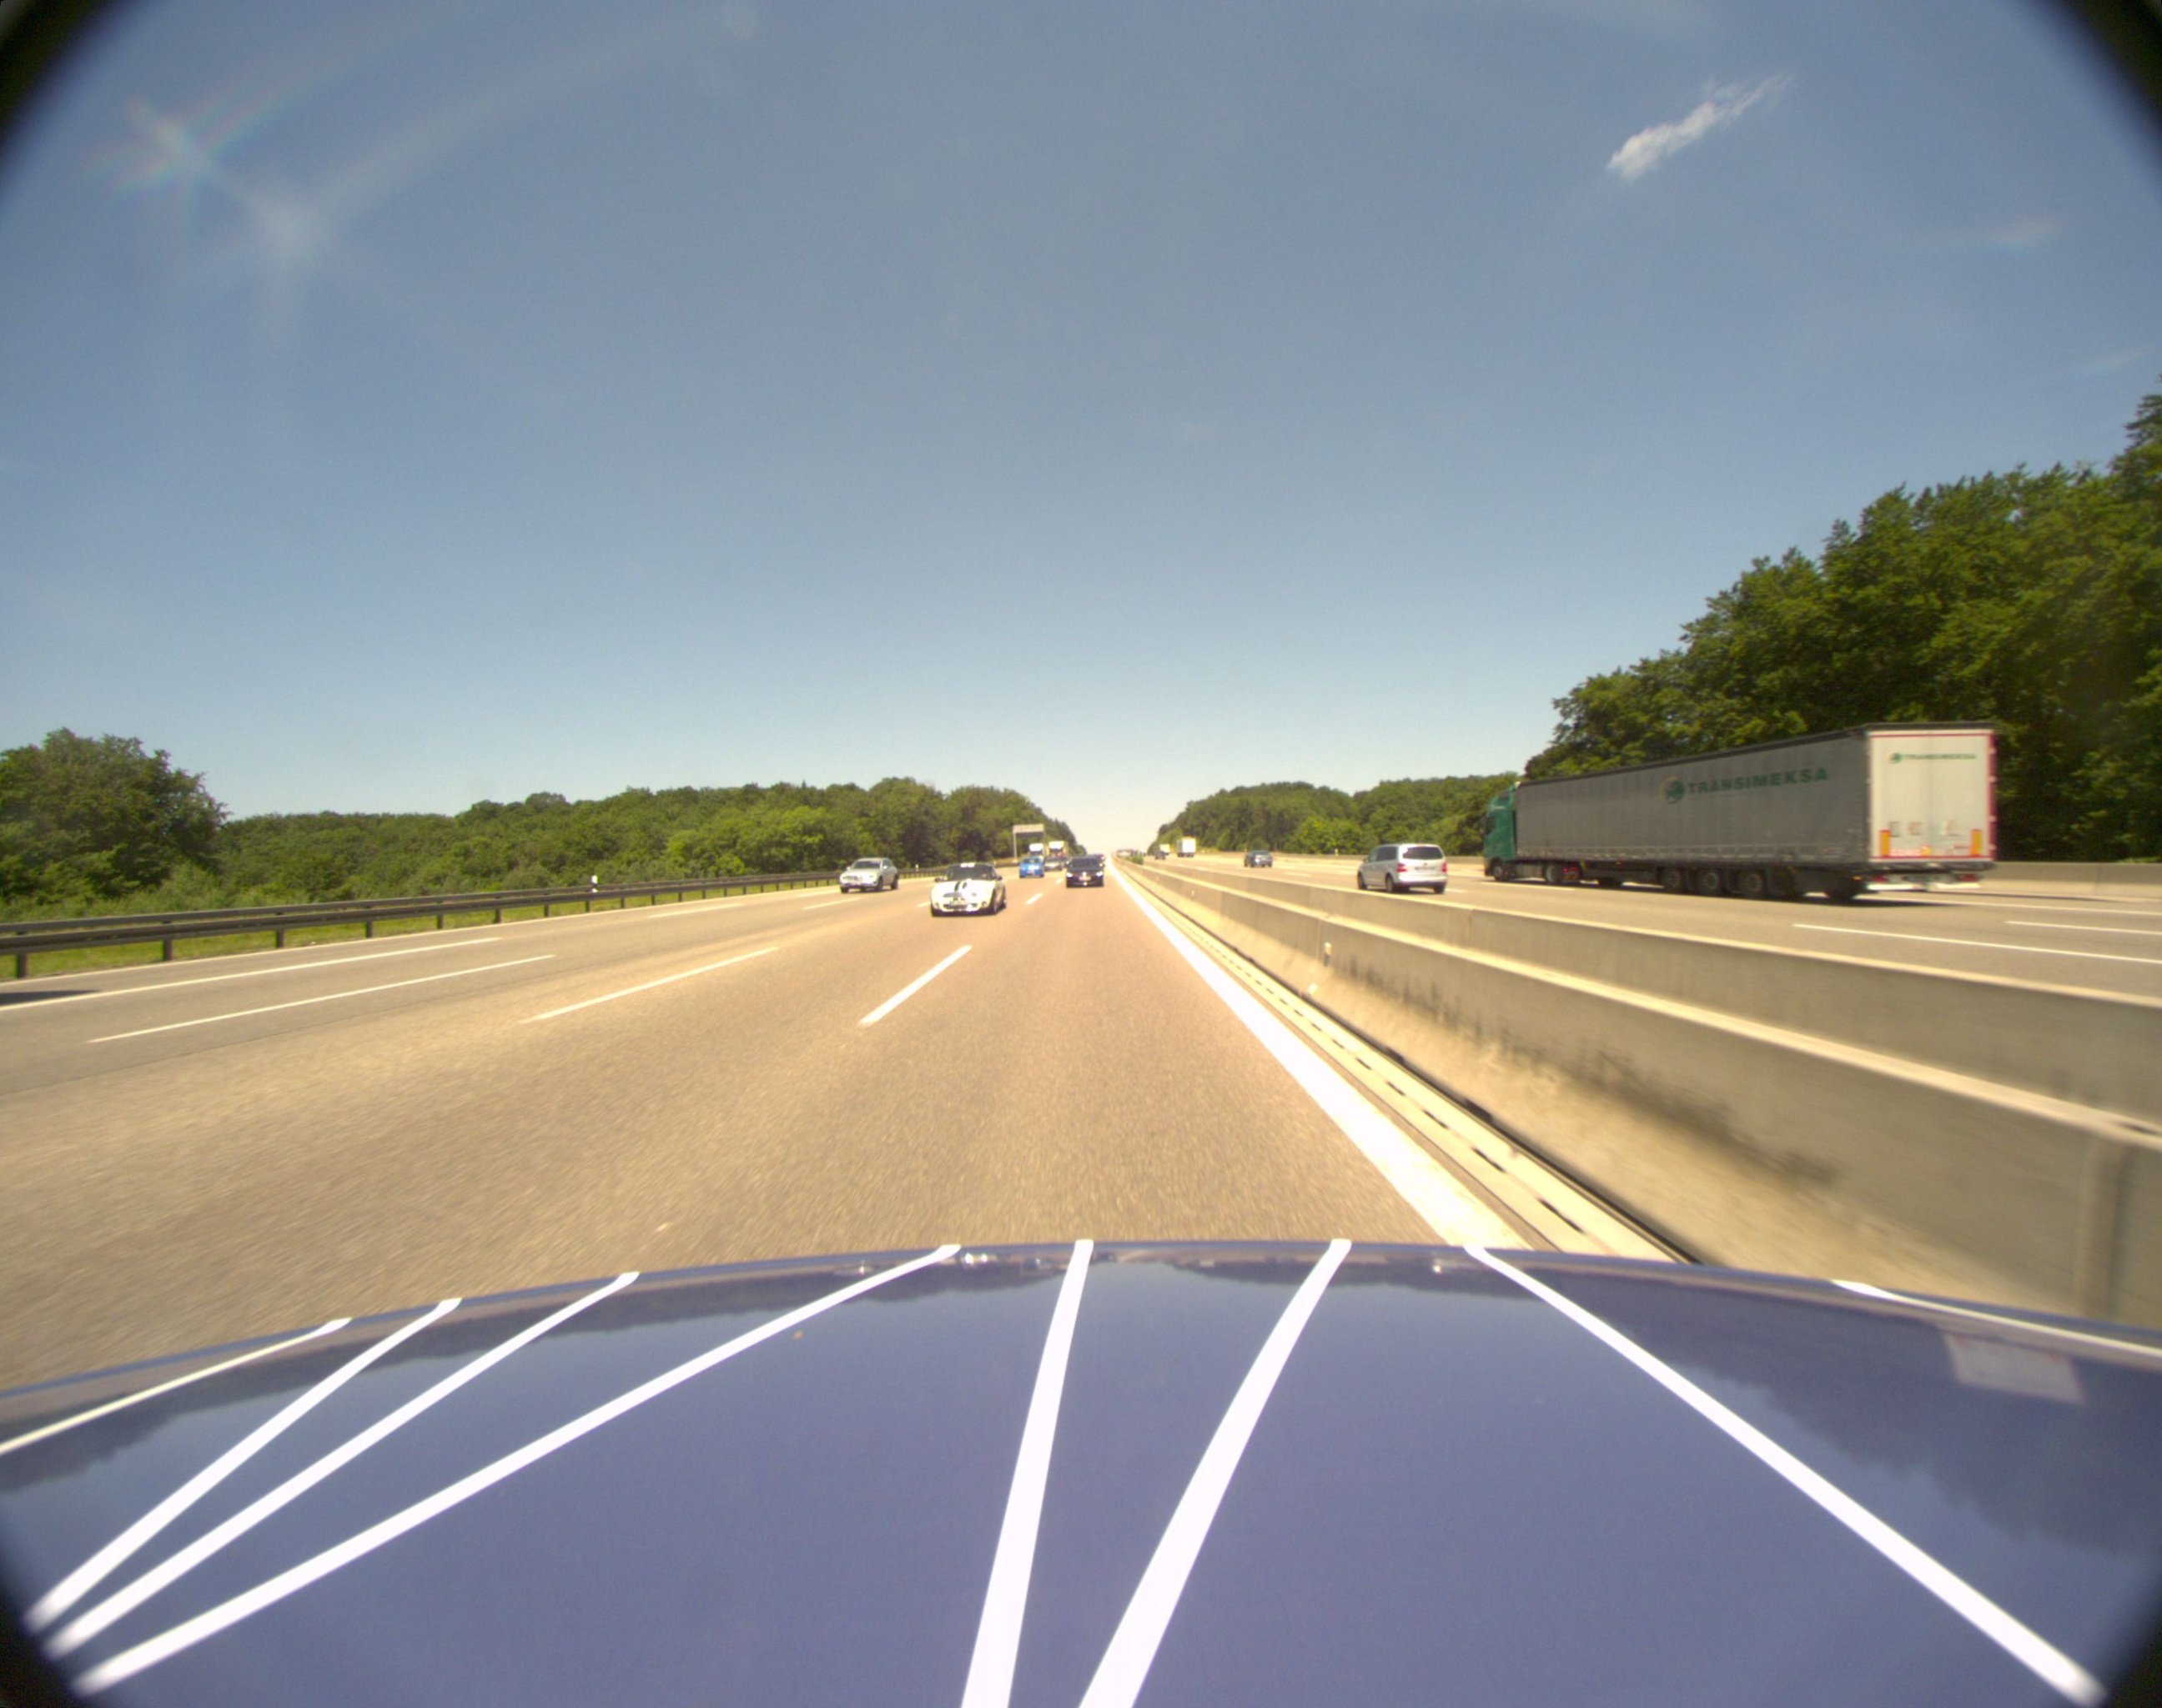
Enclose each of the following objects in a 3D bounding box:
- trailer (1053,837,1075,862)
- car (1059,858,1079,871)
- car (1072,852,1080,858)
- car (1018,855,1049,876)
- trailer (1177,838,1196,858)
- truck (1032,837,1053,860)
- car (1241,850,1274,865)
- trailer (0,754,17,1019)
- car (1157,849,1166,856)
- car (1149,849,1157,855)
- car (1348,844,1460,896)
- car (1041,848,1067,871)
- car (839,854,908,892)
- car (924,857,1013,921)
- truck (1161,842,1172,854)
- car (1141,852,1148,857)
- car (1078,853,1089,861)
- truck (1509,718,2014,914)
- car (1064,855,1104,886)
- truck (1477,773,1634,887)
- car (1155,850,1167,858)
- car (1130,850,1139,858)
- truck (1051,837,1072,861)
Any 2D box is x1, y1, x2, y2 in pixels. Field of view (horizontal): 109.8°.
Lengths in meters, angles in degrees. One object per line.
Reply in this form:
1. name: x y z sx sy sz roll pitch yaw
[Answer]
1. trailer: -3.042 -0.766 142.623 2.926 4.118 14.854 -3 -1 2
2. car: -1.457 1.323 93.466 1.971 1.444 5.226 -3 -1 4
3. car: -1.338 0.329 210.741 1.910 1.503 4.161 -4 -1 3
4. car: -3.357 0.787 54.084 1.741 1.403 4.001 -3 0 3
5. trailer: 23.391 -1.282 169.465 2.649 4.200 14.363 -1 0 2
6. truck: -7.374 -0.987 147.176 2.728 4.135 10.973 -4 -1 3
7. car: 15.423 0.289 66.649 1.836 1.293 4.729 -1 0 1
8. trailer: -15.020 0.314 2.757 2.864 3.666 13.542 -2 0 1
9. car: 20.086 -0.362 189.111 1.802 1.633 5.079 -1 0 2
10. car: 22.088 -0.620 234.086 1.802 1.471 4.400 11 -2 2
11. car: 10.836 0.481 25.899 1.836 1.552 4.776 -1 0 1
12. car: -2.632 0.548 76.326 1.966 2.041 4.785 -5 0 4
13. car: -10.212 0.919 37.849 1.805 1.720 5.240 -2 -1 2
14. car: -3.051 0.902 21.443 1.846 1.543 4.000 -2 0 0
15. truck: 26.780 -1.850 238.077 2.545 3.549 8.578 -3 0 2
16. car: 18.084 0.081 216.984 1.802 1.472 4.721 1 0 2
17. car: 0.517 0.606 149.058 1.910 1.503 4.161 -4 -1 3
18. truck: 18.200 -0.805 22.977 2.697 4.002 14.298 -2 0 1
19. car: 0.209 0.772 37.158 1.777 1.425 4.144 0 0 3
20. truck: 18.324 -0.860 29.783 2.664 4.002 5.510 -2 0 1
21. car: 14.485 0.030 137.520 1.771 1.469 4.481 -2 0 2
22. car: 11.878 -0.028 168.142 1.836 1.559 4.786 -2 0 2
23. truck: -3.399 -0.867 135.902 3.018 3.957 7.542 -4 -1 2
